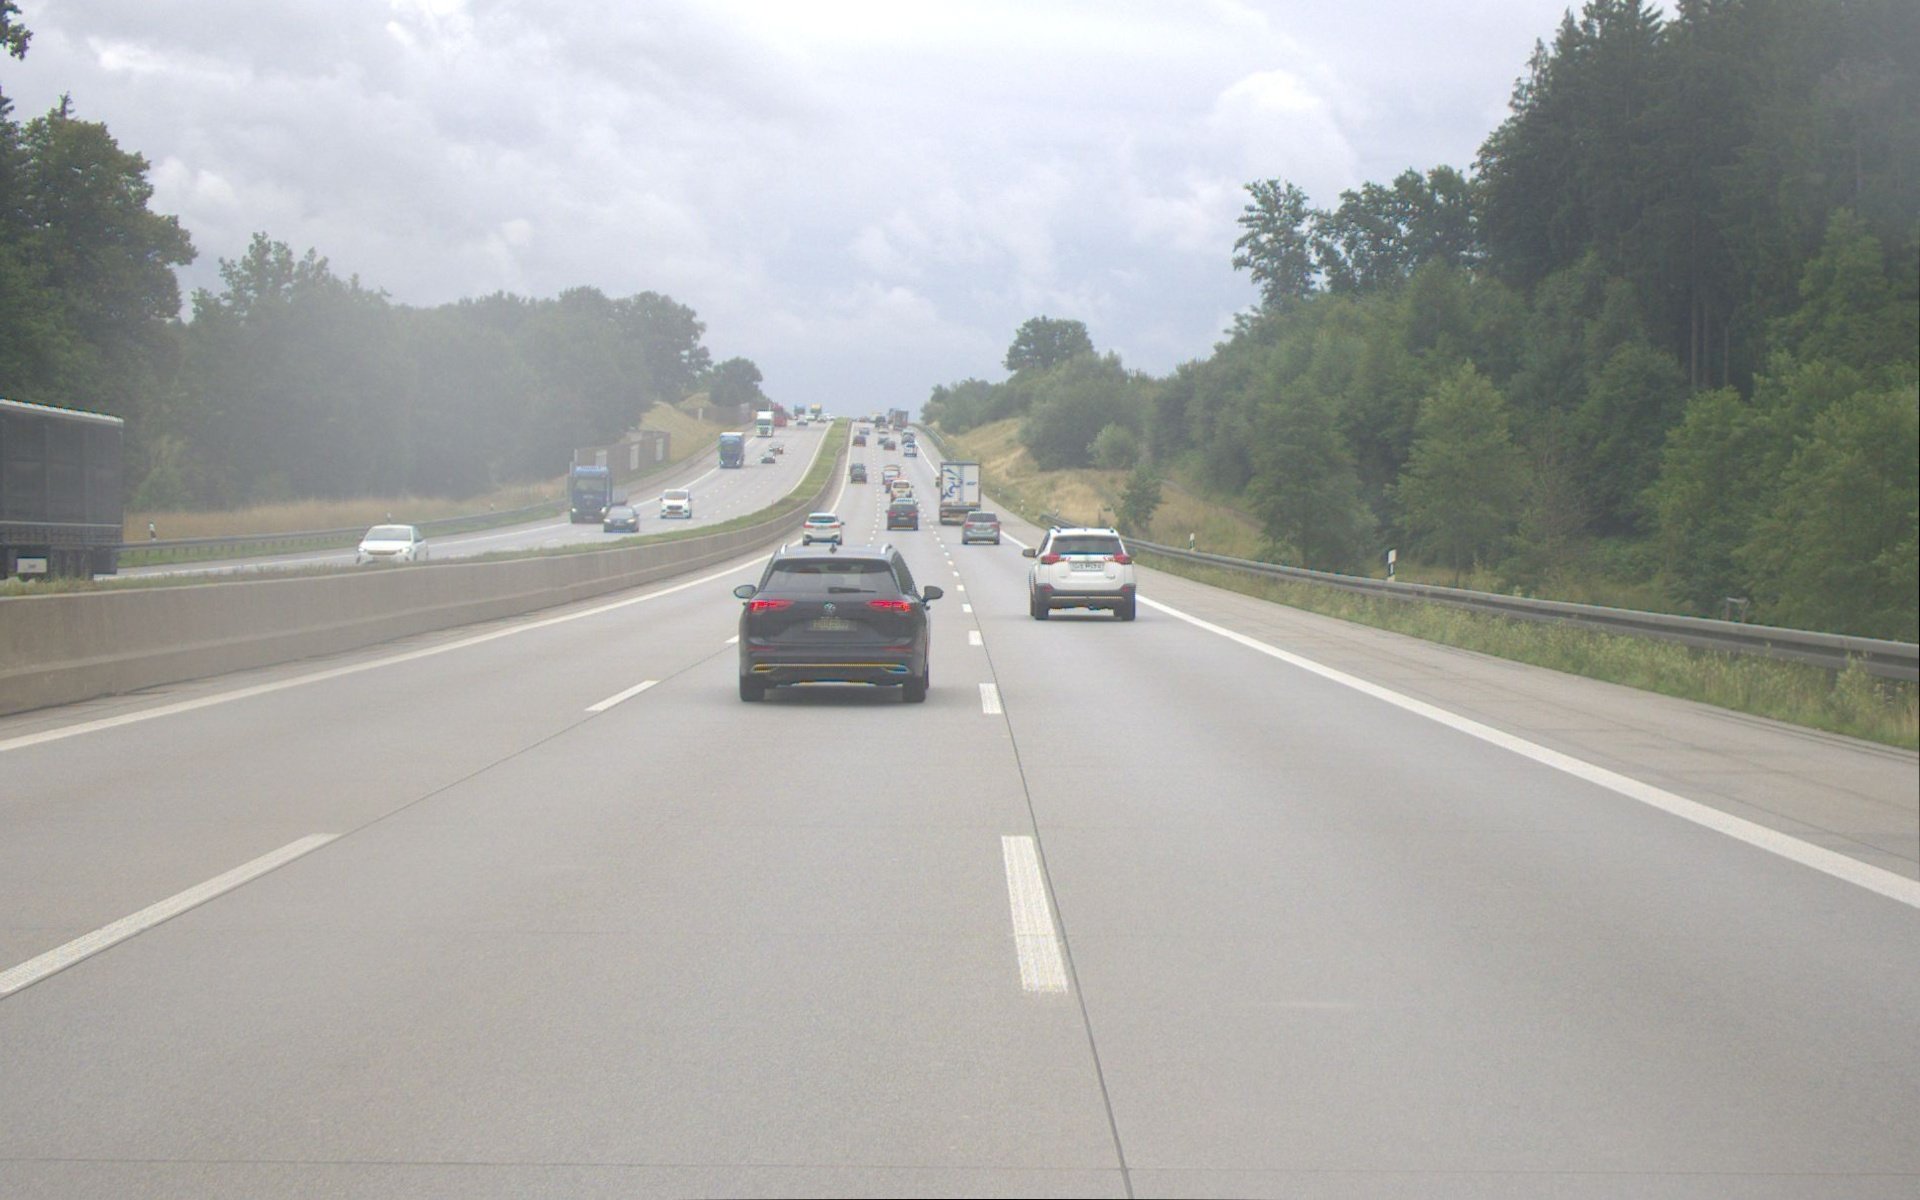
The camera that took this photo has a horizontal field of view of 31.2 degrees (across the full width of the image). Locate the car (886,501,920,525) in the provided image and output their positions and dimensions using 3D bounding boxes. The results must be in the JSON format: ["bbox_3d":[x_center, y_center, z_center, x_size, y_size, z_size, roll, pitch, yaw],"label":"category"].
[{"bbox_3d":[-3.403,-5.232,206.282,1.935,1.370,4.595,1,2,0],"label":"car"}]

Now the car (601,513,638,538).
[{"bbox_3d":[-19.082,-4.193,192.546,1.847,1.372,4.438,1,1,-3],"label":"car"}]

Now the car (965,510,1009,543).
[{"bbox_3d":[1.300,-3.609,168.122,1.993,1.525,4.000,3,1,-1],"label":"car"}]

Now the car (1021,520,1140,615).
[{"bbox_3d":[2.148,-0.613,62.390,1.825,1.650,3.985,1,1,-3],"label":"car"}]

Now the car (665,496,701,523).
[{"bbox_3d":[-18.959,-6.227,235.579,2.088,1.795,5.498,1,1,-1],"label":"car"}]

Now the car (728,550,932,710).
[{"bbox_3d":[-1.177,0.233,32.816,1.752,1.393,4.484,1,1,0],"label":"car"}]

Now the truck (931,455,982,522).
[{"bbox_3d":[-0.247,-7.281,223.946,3.017,4.165,8.356,1,3,-2],"label":"truck"}]

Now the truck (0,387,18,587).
[{"bbox_3d":[-20.986,-2.248,67.202,3.212,4.043,7.166,1,1,-1],"label":"truck"}]

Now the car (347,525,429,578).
[{"bbox_3d":[-17.016,-1.457,102.353,1.783,1.463,4.372,0,2,-1],"label":"car"}]

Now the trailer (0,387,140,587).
[{"bbox_3d":[-21.082,-2.441,74.727,3.235,4.038,14.132,1,1,-1],"label":"trailer"}]

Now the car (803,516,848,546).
[{"bbox_3d":[-6.310,-3.220,161.680,1.947,1.351,4.259,0,0,0],"label":"car"}]

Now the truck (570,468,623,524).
[{"bbox_3d":[-23.078,-6.597,218.667,2.756,3.504,6.641,1,1,-1],"label":"truck"}]

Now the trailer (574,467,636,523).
[{"bbox_3d":[-23.246,-6.841,225.683,2.785,3.495,13.887,1,1,-1],"label":"trailer"}]
